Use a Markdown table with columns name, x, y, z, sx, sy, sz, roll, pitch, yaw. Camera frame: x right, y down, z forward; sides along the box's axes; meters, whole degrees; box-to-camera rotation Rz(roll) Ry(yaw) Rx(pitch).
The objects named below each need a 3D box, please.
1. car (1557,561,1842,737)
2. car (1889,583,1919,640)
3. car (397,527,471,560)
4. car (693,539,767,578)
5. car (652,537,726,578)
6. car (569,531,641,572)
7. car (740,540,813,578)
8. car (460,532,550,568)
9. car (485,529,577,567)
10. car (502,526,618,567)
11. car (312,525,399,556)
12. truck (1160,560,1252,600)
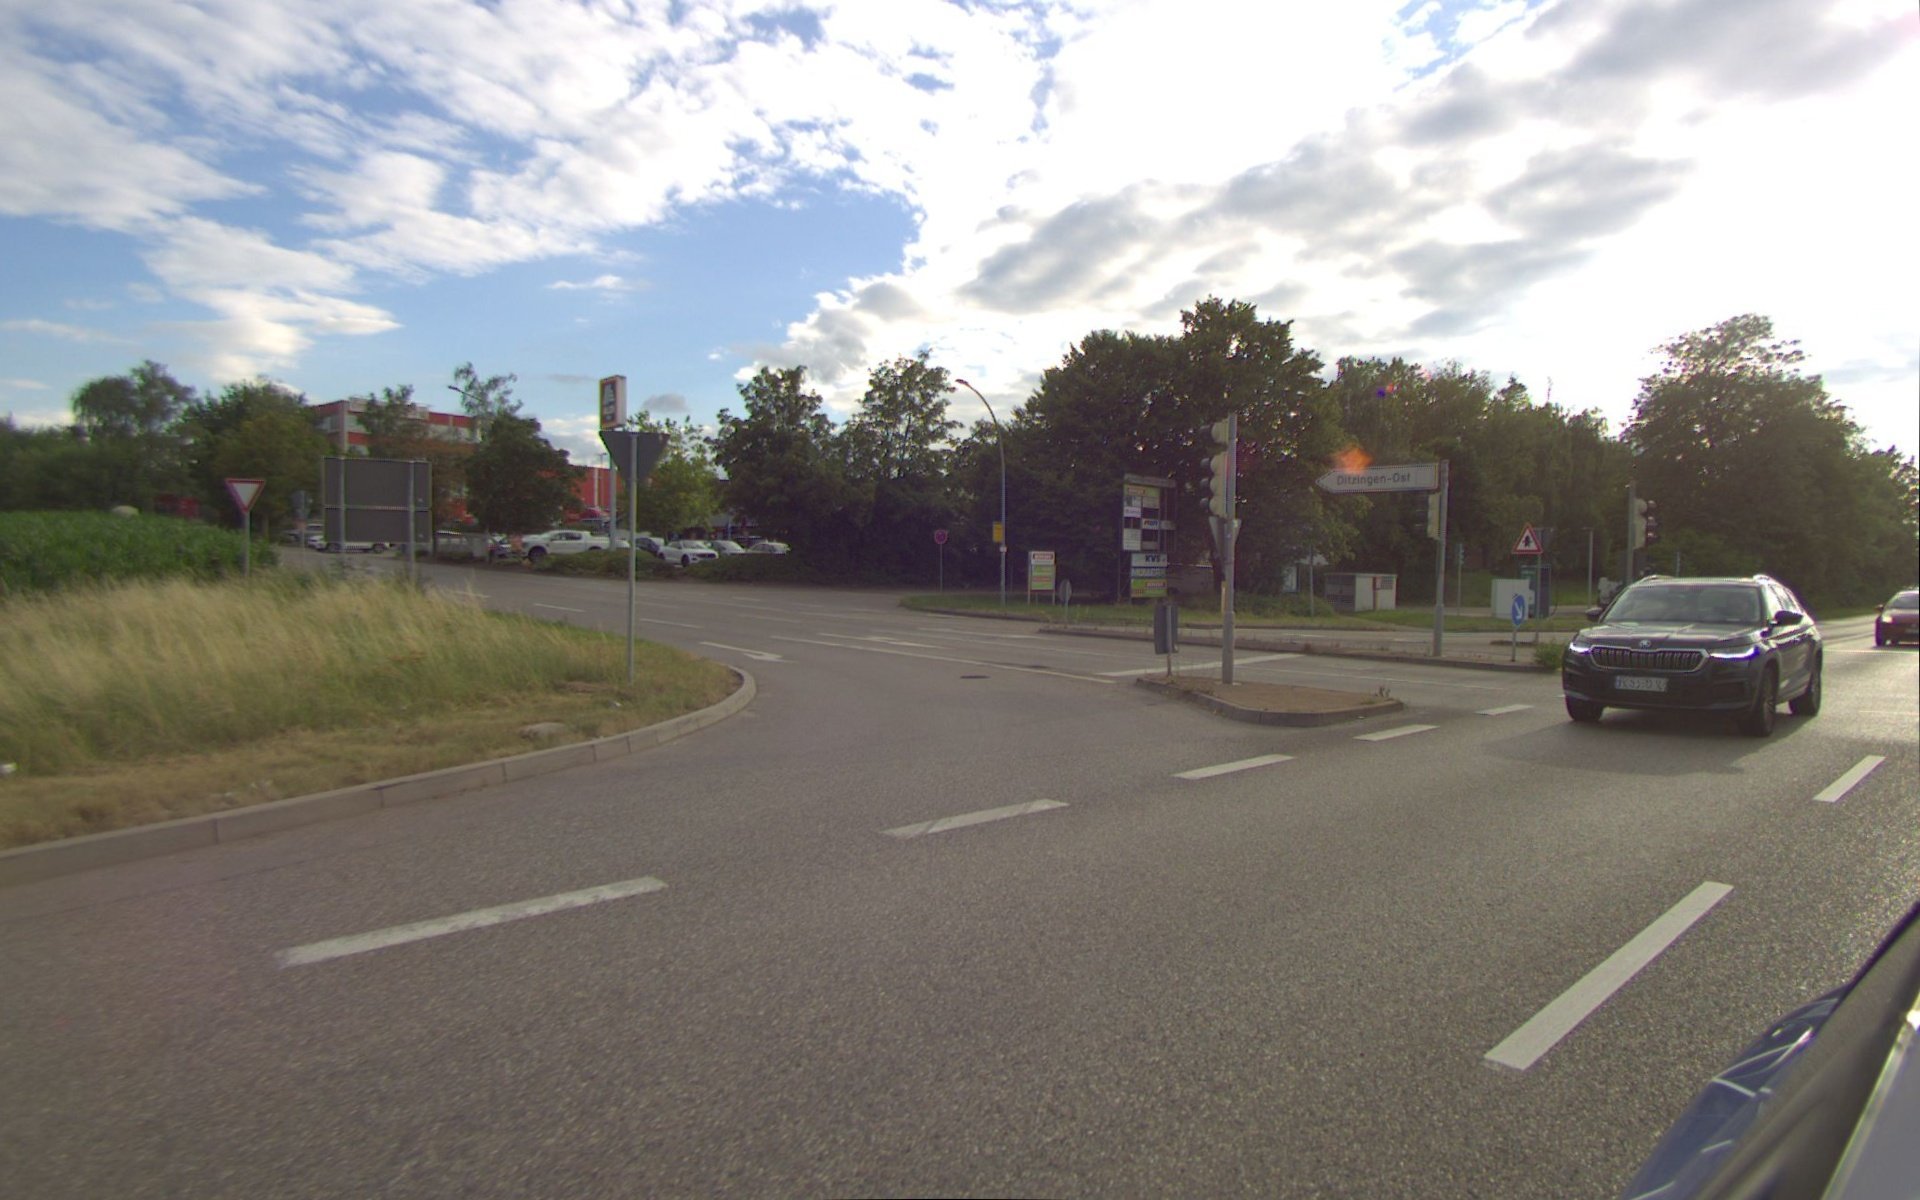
| name | x | y | z | sx | sy | sz | roll | pitch | yaw |
| --- | --- | --- | --- | --- | --- | --- | --- | --- | --- |
| car | 8.725 | 0.447 | 11.782 | 4.404 | 1.671 | 1.847 | 0 | 0 | -42 |
| car | 26.028 | 0.293 | 26.873 | 3.926 | 1.450 | 1.665 | 0 | 1 | -42 |
| car | -35.194 | -3.732 | 67.733 | 1.988 | 2.039 | 3.947 | 0 | 1 | 37 |
| car | -12.448 | -2.256 | 54.639 | 1.928 | 1.874 | 4.298 | 0 | 5 | -44 |
| car | -14.221 | -2.231 | 53.006 | 1.928 | 1.906 | 4.298 | 0 | 5 | -44 |
| car | -18.420 | -2.550 | 52.436 | 1.928 | 1.906 | 4.298 | 0 | 5 | -44 |
| car | -10.314 | -2.321 | 56.667 | 1.928 | 1.906 | 4.298 | 0 | 5 | -44 |
| car | -25.968 | -2.840 | 57.822 | 1.954 | 1.906 | 4.241 | 5 | 4 | 41 |
| car | -23.662 | -2.843 | 55.931 | 1.954 | 1.906 | 4.241 | 5 | 4 | 41 |
| car | -21.431 | -2.843 | 54.405 | 1.993 | 2.038 | 5.532 | 4 | 4 | 41 |
| car | -37.522 | -3.703 | 62.848 | 1.993 | 1.800 | 4.265 | 4 | 4 | 41 |
| truck | 12.812 | -1.051 | 52.955 | 4.600 | 2.022 | 1.816 | 0 | 0 | 14 |
